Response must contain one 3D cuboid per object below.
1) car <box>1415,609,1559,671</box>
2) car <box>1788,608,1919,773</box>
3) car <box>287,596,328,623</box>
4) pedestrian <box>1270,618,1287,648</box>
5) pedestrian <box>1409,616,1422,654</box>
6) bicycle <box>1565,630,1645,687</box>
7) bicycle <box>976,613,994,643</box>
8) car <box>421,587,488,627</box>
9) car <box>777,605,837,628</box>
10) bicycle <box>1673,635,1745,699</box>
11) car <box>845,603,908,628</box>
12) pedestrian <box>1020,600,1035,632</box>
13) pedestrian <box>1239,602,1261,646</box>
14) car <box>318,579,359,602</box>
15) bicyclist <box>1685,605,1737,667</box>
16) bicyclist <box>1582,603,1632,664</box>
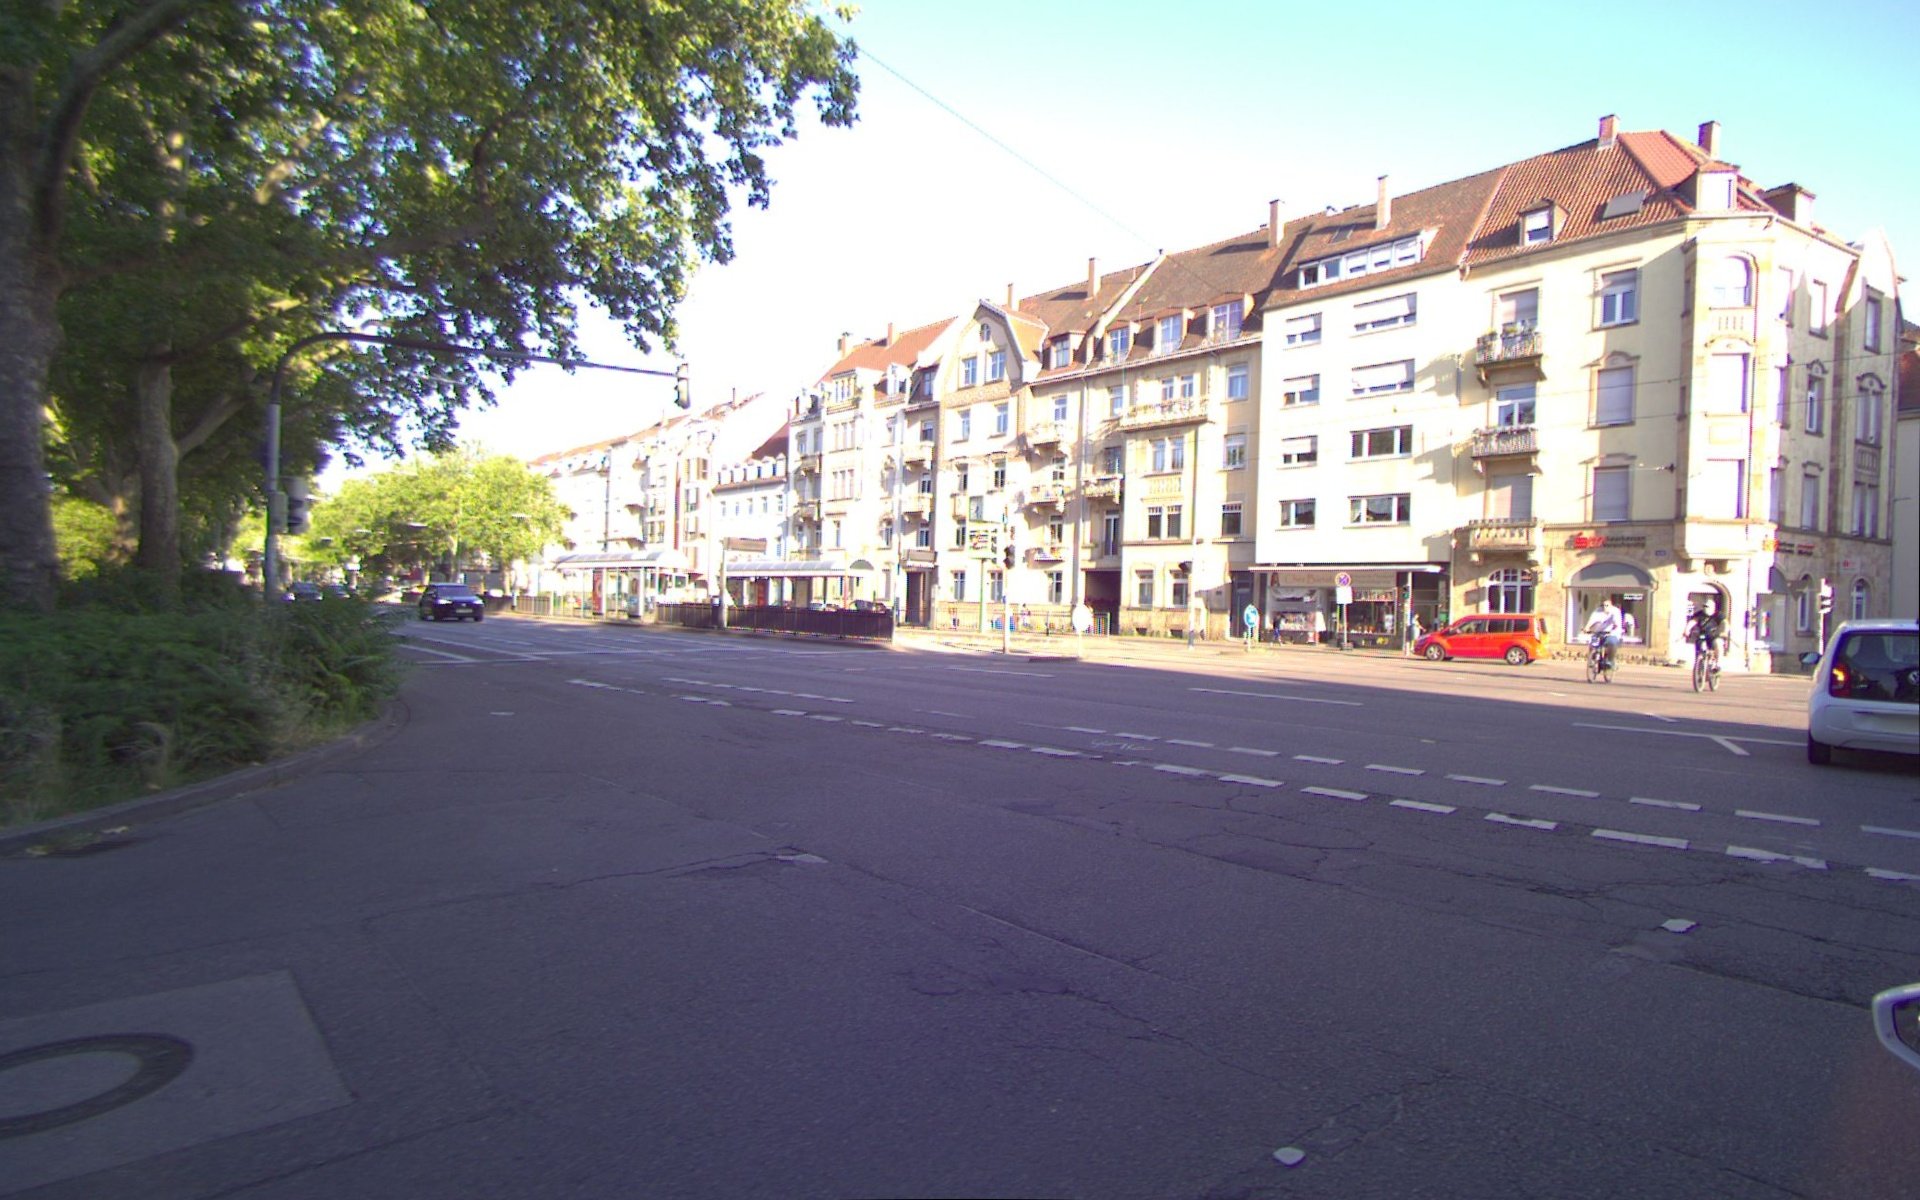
[{"bbox_3d":[18.903,1.394,36.104,4.243,1.925,1.912,3,0,40],"label":"car"},{"bbox_3d":[10.103,0.905,10.823,1.711,1.499,3.798,3,0,39],"label":"car"},{"bbox_3d":[-41.881,0.617,64.478,1.863,1.617,3.956,2,0,-38],"label":"car"},{"bbox_3d":[14.924,1.532,47.080,0.550,1.380,0.548,2,0,-42],"label":"pedestrian"},{"bbox_3d":[19.347,1.478,42.690,0.344,1.601,0.315,2,0,-34],"label":"pedestrian"},{"bbox_3d":[13.790,1.241,21.431,2.531,1.120,0.645,2,0,-39],"label":"bicycle"},{"bbox_3d":[1.497,1.673,60.581,0.555,1.760,0.879,2,1,-38],"label":"bicycle"},{"bbox_3d":[-22.038,0.270,43.757,1.863,1.617,3.956,2,0,-38],"label":"car"},{"bbox_3d":[-10.416,1.135,68.529,1.921,1.483,3.684,3,0,43],"label":"car"},{"bbox_3d":[14.685,1.287,19.672,1.908,1.120,0.645,0,2,-39],"label":"bicycle"},{"bbox_3d":[-5.320,1.008,64.469,1.921,1.483,3.684,3,0,43],"label":"car"},{"bbox_3d":[4.022,0.951,59.934,0.636,1.862,0.471,2,1,-40],"label":"pedestrian"},{"bbox_3d":[13.812,1.153,47.849,0.761,2.040,0.663,2,0,-34],"label":"pedestrian"},{"bbox_3d":[-45.808,-0.689,73.995,1.865,1.617,3.951,2,0,-42],"label":"car"},{"bbox_3d":[14.675,0.705,19.634,0.761,1.173,0.605,2,1,-39],"label":"bicyclist"},{"bbox_3d":[13.798,0.714,21.413,0.761,1.252,0.653,2,1,-39],"label":"bicyclist"}]
